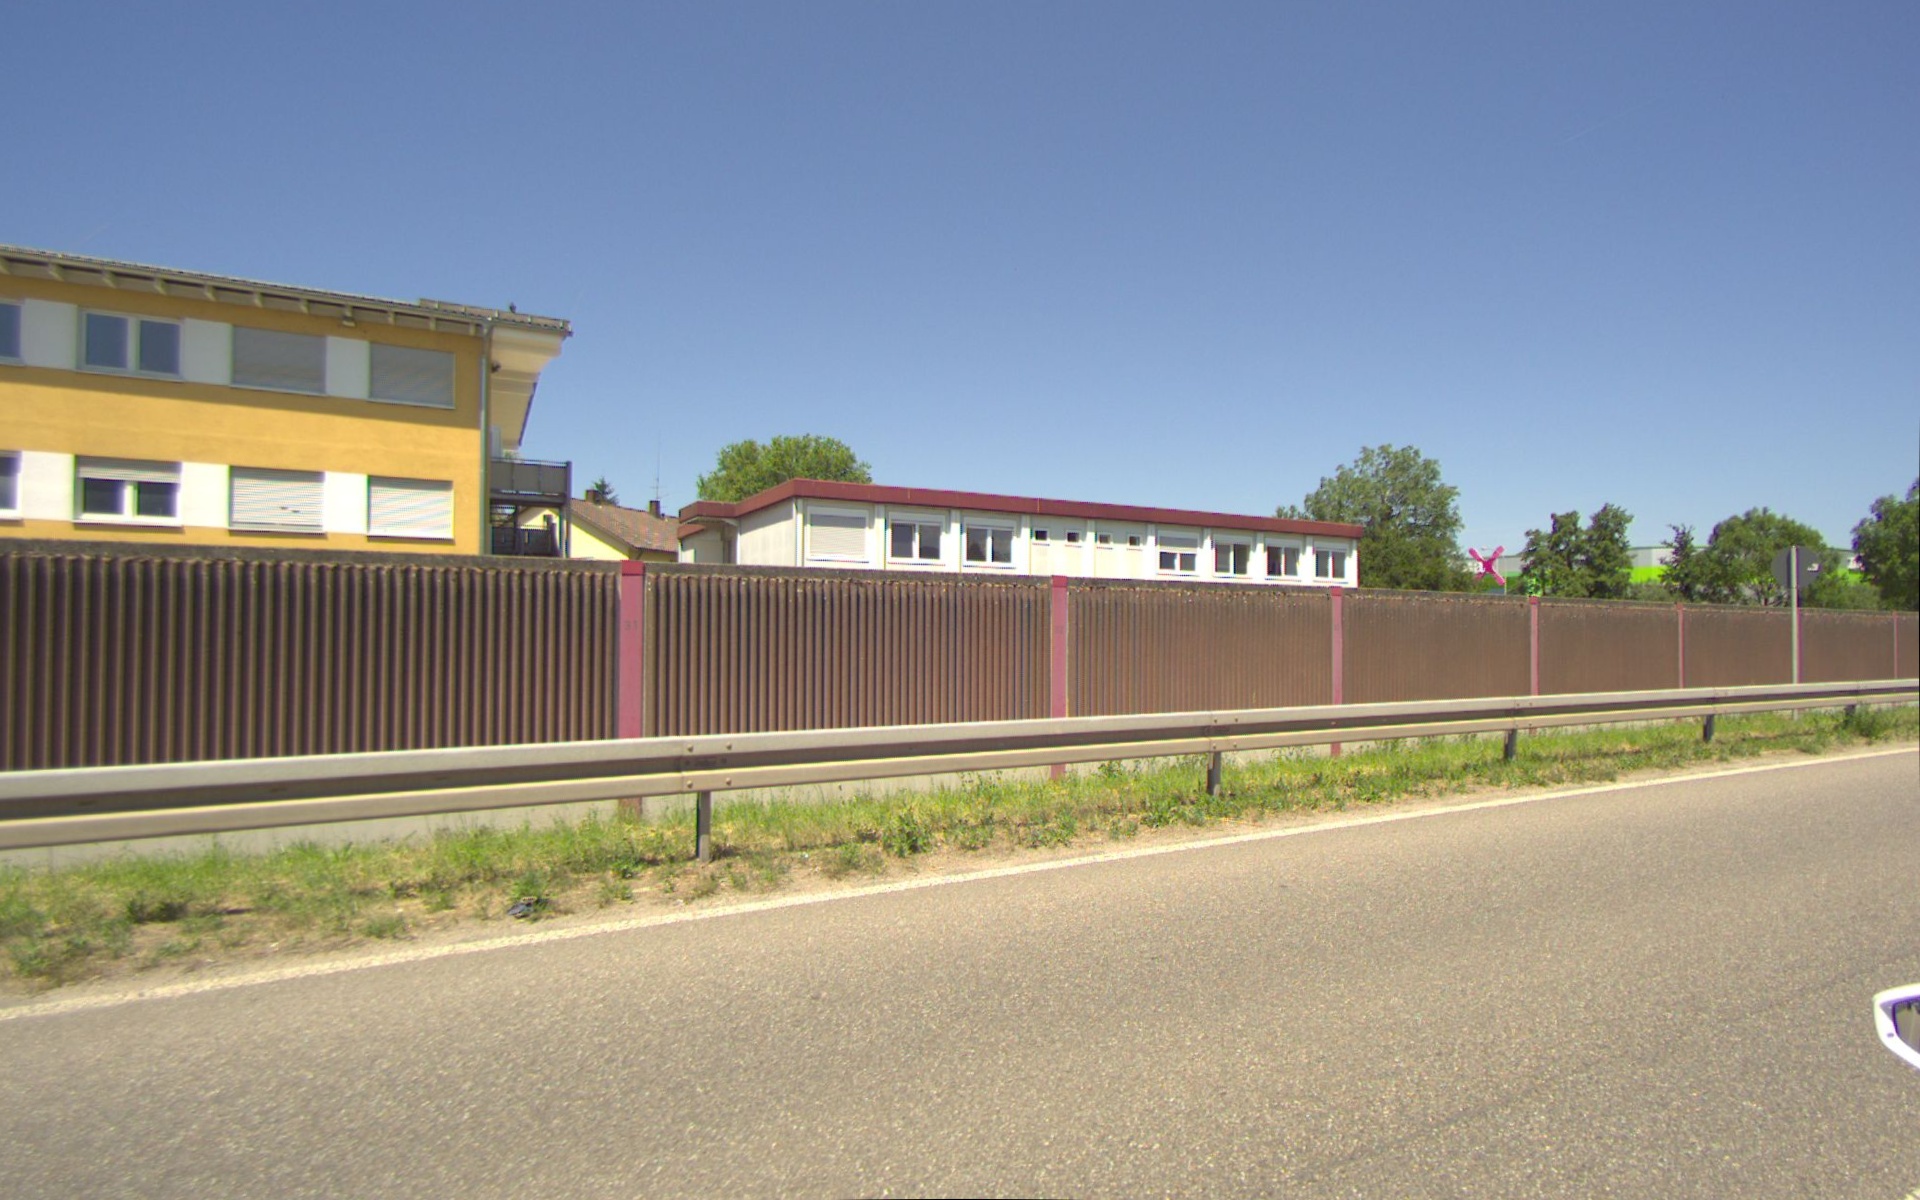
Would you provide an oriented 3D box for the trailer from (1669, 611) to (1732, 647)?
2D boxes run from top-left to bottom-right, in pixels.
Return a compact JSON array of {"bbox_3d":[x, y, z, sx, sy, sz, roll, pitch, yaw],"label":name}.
[{"bbox_3d":[60.744,2.369,82.458,3.683,2.801,1.827,1,-1,16],"label":"trailer"}]
